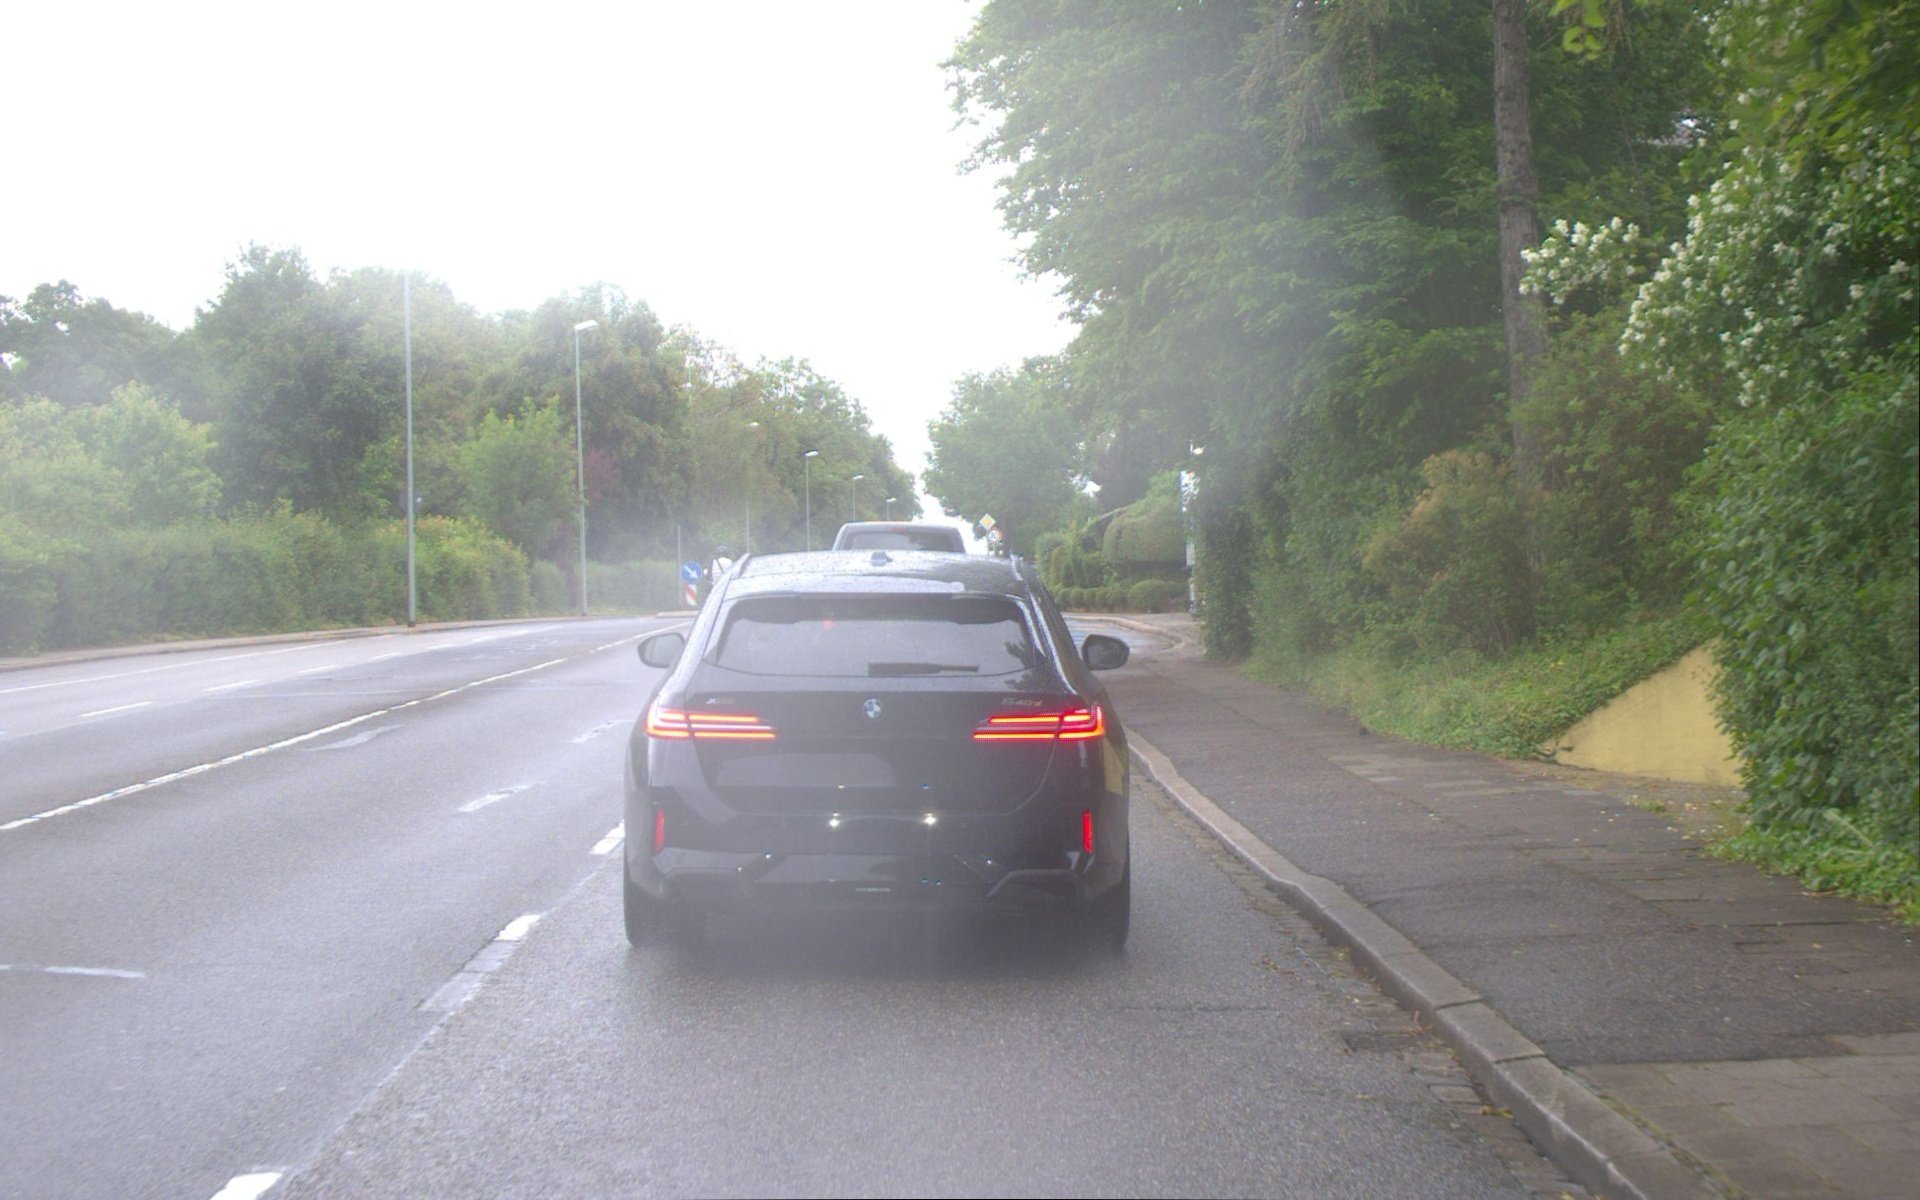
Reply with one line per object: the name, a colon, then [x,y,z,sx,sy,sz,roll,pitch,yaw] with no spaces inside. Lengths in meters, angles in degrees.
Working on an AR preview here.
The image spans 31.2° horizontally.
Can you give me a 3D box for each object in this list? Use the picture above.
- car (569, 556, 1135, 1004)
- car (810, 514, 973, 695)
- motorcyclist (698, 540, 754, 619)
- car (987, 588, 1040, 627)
car: [-0.354,0.607,13.739,1.897,1.484,4.000,1,0,0]
car: [-0.728,0.029,37.395,1.629,1.827,4.000,-1,1,-1]
motorcyclist: [-4.714,-0.410,69.304,1.039,1.562,0.855,1,0,-1]
car: [2.044,0.285,130.063,1.935,1.437,4.407,-1,0,2]
